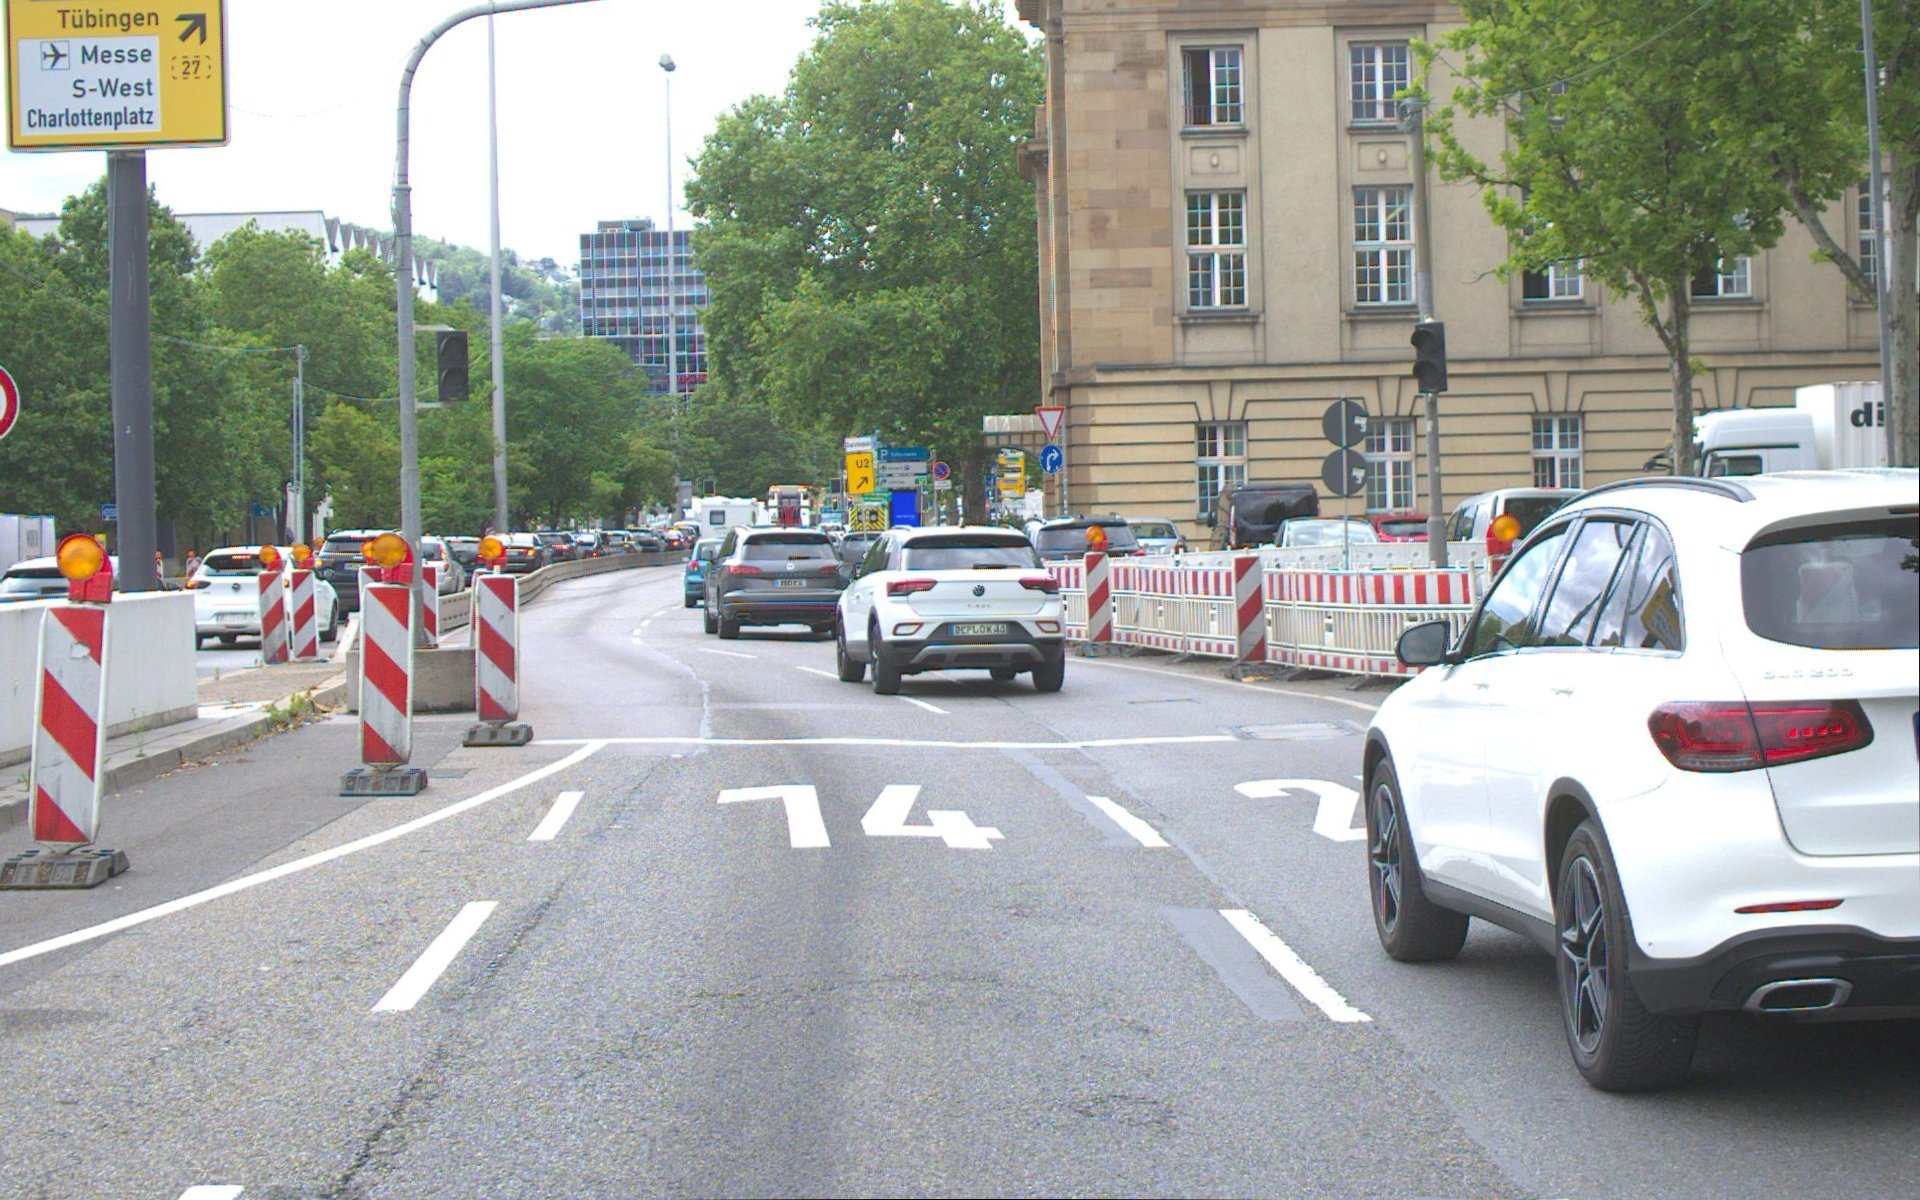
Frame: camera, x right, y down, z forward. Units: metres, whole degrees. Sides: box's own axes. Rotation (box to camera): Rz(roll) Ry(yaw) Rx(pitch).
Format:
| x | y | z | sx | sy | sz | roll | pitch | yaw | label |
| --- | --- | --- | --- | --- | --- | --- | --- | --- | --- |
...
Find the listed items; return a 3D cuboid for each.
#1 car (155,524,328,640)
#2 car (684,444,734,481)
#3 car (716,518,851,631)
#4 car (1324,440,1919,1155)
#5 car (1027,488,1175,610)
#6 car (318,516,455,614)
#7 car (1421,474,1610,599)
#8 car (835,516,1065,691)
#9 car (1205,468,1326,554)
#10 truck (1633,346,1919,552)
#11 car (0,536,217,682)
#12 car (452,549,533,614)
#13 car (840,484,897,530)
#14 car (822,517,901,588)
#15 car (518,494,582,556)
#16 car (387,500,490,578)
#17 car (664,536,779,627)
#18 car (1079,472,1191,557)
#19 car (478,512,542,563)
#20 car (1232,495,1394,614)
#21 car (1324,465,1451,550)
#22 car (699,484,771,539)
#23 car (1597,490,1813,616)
| x | y | z | sx | sy | sz | roll | pitch | yaw | label |
| --- | --- | --- | --- | --- | --- | --- | --- | --- | --- |
| -10.314 | -0.288 | 49.550 | 1.750 | 1.562 | 3.377 | -1 | 2 | 0 | car |
| -16.900 | -9.257 | 231.958 | 2.582 | 2.366 | 5.526 | -2 | 2 | 3 | car |
| -2.706 | -0.413 | 51.765 | 1.823 | 1.562 | 4.481 | 1 | 2 | -5 | car |
| 2.416 | 0.374 | 10.478 | 1.811 | 1.637 | 4.553 | -4 | 2 | -3 | car |
| 1.878 | -0.695 | 46.865 | 1.750 | 1.562 | 4.332 | -1 | 1 | -1 | car |
| -10.091 | -0.642 | 60.703 | 1.750 | 1.562 | 3.377 | -4 | 2 | 0 | car |
| 7.369 | -0.837 | 45.994 | 1.750 | 1.562 | 4.332 | -1 | 1 | -1 | car |
| -0.165 | -0.005 | 33.363 | 1.750 | 1.562 | 4.332 | -1 | 1 | -7 | car |
| 5.824 | -1.677 | 66.006 | 1.856 | 1.562 | 4.332 | -1 | 1 | -1 | car |
| 15.838 | -2.413 | 53.775 | 10.029 | 3.040 | 2.569 | -2 | 1 | 0 | truck |
| -10.071 | 0.063 | 40.170 | 1.750 | 1.562 | 4.331 | -1 | 1 | 1 | car |
| -11.994 | -0.499 | 88.410 | 1.750 | 1.562 | 4.332 | -1 | 1 | -4 | car |
| -4.980 | -5.085 | 188.065 | 2.582 | 2.366 | 5.526 | -2 | 2 | 3 | car |
| -2.340 | -1.158 | 82.460 | 1.823 | 1.562 | 4.480 | 1 | 2 | -1 | car |
| -14.448 | -2.669 | 121.308 | 1.993 | 2.006 | 4.001 | -2 | 3 | -4 | car |
| -11.023 | -1.295 | 72.862 | 1.750 | 1.562 | 4.332 | -1 | 1 | -4 | car |
| -5.042 | -0.421 | 73.242 | 1.823 | 1.734 | 4.480 | -2 | 2 | 3 | car |
| 3.351 | -1.627 | 66.597 | 1.856 | 1.562 | 4.332 | -1 | 1 | -1 | car |
| -14.478 | -2.027 | 110.783 | 1.750 | 1.562 | 4.332 | -1 | 1 | -4 | car |
| 4.898 | -0.636 | 48.221 | 1.750 | 1.562 | 4.332 | -1 | 1 | -1 | car |
| 8.252 | -1.772 | 66.702 | 1.856 | 1.562 | 4.332 | -1 | 1 | -1 | car |
| -10.313 | -4.092 | 158.125 | 2.582 | 2.366 | 5.526 | -2 | 2 | 3 | car |
| 9.849 | -0.625 | 45.747 | 1.856 | 1.562 | 4.332 | -1 | 1 | -1 | car |
